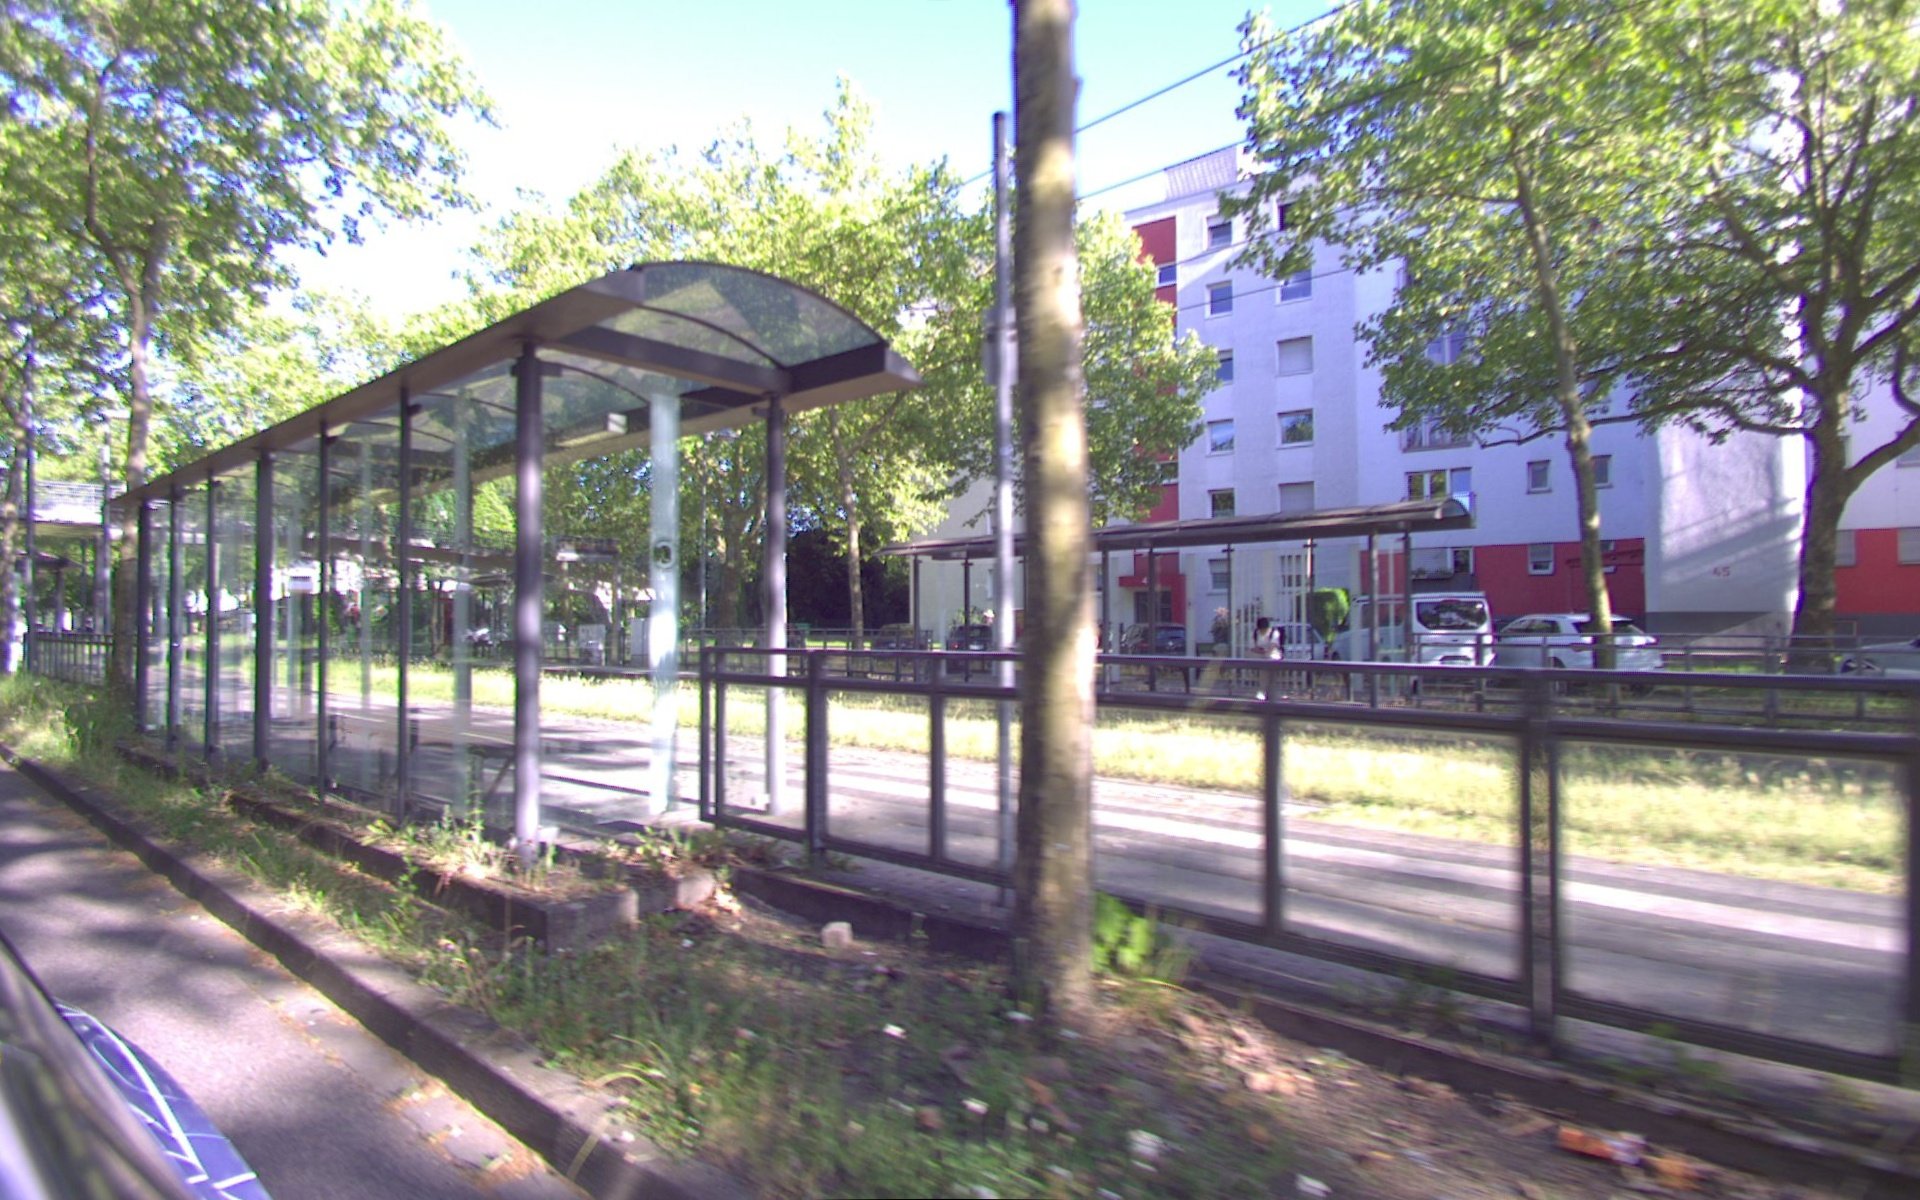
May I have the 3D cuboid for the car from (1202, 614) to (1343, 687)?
[{"bbox_3d":[7.473,1.152,24.711,1.873,1.509,4.501,-2,0,-2],"label":"car"}]

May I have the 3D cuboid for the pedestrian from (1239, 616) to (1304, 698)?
[{"bbox_3d":[4.466,0.817,14.508,0.662,1.136,0.687,-1,-4,41],"label":"pedestrian"}]

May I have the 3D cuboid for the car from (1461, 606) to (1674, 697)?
[{"bbox_3d":[12.229,0.981,20.724,1.664,1.623,4.063,-2,-1,-3],"label":"car"}]

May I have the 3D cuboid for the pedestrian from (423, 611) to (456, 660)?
[{"bbox_3d":[-16.482,1.136,32.056,0.681,1.525,0.638,-1,-3,28],"label":"pedestrian"}]

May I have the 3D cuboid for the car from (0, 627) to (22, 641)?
[{"bbox_3d":[-118.883,4.256,125.627,1.857,1.579,4.011,-1,0,-15],"label":"car"}]

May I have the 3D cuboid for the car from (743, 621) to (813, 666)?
[{"bbox_3d":[-6.674,1.570,37.453,1.677,1.439,4.198,-2,0,2],"label":"car"}]

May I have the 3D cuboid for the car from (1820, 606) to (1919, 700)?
[{"bbox_3d":[17.111,0.892,16.530,1.870,1.515,4.508,-2,0,-8],"label":"car"}]

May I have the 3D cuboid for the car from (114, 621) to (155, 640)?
[{"bbox_3d":[-72.972,2.666,89.470,4.623,1.499,1.879,-1,2,39],"label":"car"}]

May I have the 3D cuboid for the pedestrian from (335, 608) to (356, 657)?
[{"bbox_3d":[-23.004,1.216,37.891,0.477,1.784,0.504,-1,0,0],"label":"pedestrian"}]

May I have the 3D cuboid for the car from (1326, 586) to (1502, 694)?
[{"bbox_3d":[9.808,0.799,22.314,1.874,2.078,4.497,-2,0,2],"label":"car"}]

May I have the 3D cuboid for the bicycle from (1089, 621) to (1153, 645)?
[{"bbox_3d":[6.648,1.373,41.824,2.591,0.935,0.689,-3,-1,37],"label":"bicycle"}]

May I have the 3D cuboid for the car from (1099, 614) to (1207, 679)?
[{"bbox_3d":[5.121,1.189,27.482,1.873,1.509,4.501,-2,0,-2],"label":"car"}]

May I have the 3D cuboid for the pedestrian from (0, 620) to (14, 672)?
[{"bbox_3d":[-23.631,1.121,24.673,0.586,1.261,0.727,-1,0,35],"label":"pedestrian"}]

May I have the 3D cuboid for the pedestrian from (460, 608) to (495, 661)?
[{"bbox_3d":[-15.319,1.082,32.123,0.714,1.647,0.722,-1,-2,38],"label":"pedestrian"}]

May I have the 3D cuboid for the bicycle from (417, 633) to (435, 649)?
[{"bbox_3d":[-27.941,2.152,52.914,1.173,0.784,0.429,-2,-1,41],"label":"bicycle"}]

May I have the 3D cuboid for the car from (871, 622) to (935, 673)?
[{"bbox_3d":[-1.795,1.491,32.870,1.677,1.439,4.198,-2,0,2],"label":"car"}]

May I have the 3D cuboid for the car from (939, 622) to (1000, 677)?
[{"bbox_3d":[0.335,1.457,31.070,1.677,1.439,4.198,-2,0,2],"label":"car"}]

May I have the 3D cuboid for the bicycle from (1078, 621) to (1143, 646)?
[{"bbox_3d":[6.111,1.383,41.189,2.591,0.935,0.689,-3,-1,37],"label":"bicycle"}]
